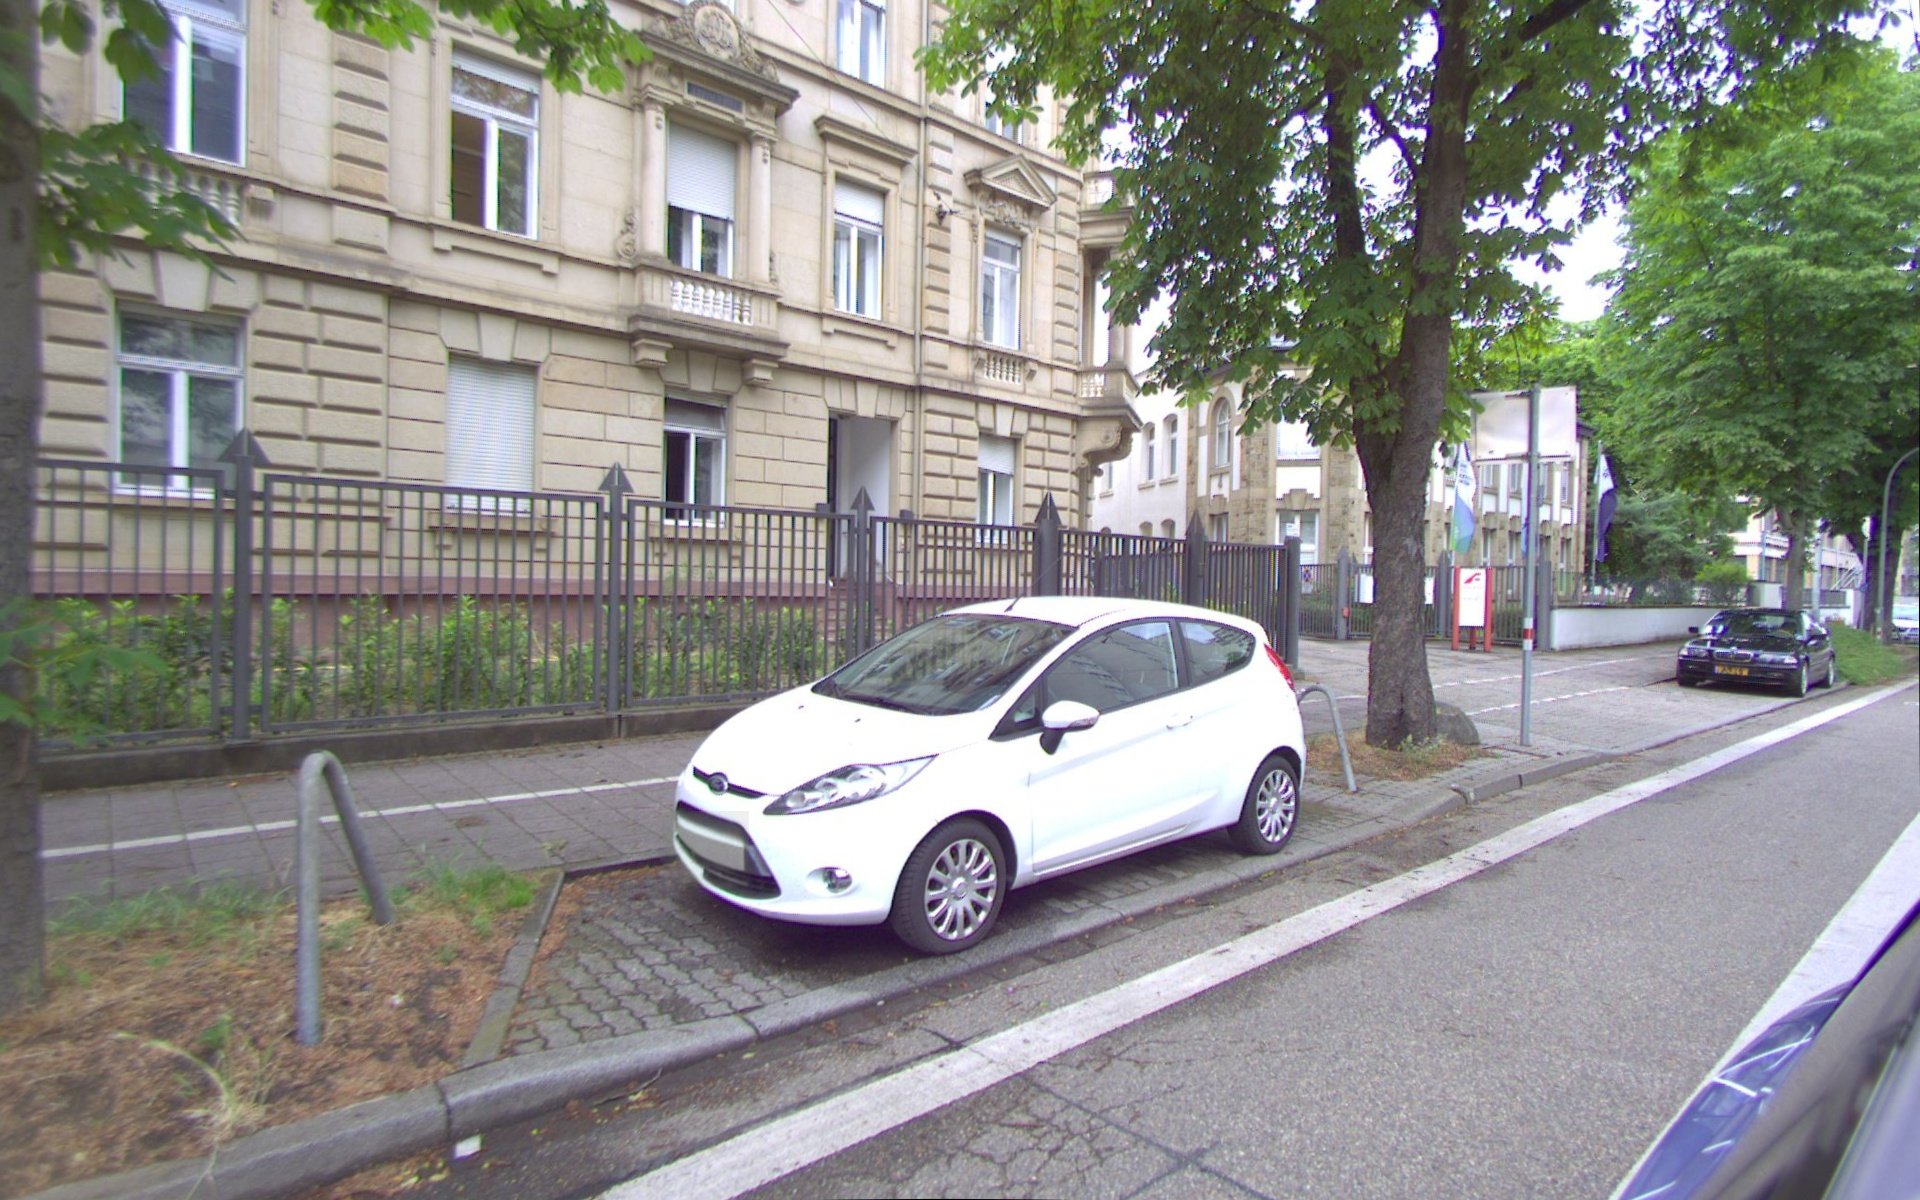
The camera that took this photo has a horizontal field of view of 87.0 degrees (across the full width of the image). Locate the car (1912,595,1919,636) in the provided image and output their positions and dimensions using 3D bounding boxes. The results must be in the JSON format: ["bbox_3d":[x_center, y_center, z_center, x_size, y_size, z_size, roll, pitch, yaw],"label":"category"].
[{"bbox_3d":[35.969,0.576,36.761,3.769,1.442,1.606,0,3,-41],"label":"car"}]

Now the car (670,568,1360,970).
[{"bbox_3d":[0.497,0.613,5.621,3.698,1.453,1.631,0,3,-41],"label":"car"}]

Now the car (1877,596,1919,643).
[{"bbox_3d":[30.623,0.608,32.221,3.769,1.387,1.606,0,3,-41],"label":"car"}]

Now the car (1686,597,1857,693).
[{"bbox_3d":[14.056,0.695,17.466,3.769,1.387,1.606,0,3,-41],"label":"car"}]
